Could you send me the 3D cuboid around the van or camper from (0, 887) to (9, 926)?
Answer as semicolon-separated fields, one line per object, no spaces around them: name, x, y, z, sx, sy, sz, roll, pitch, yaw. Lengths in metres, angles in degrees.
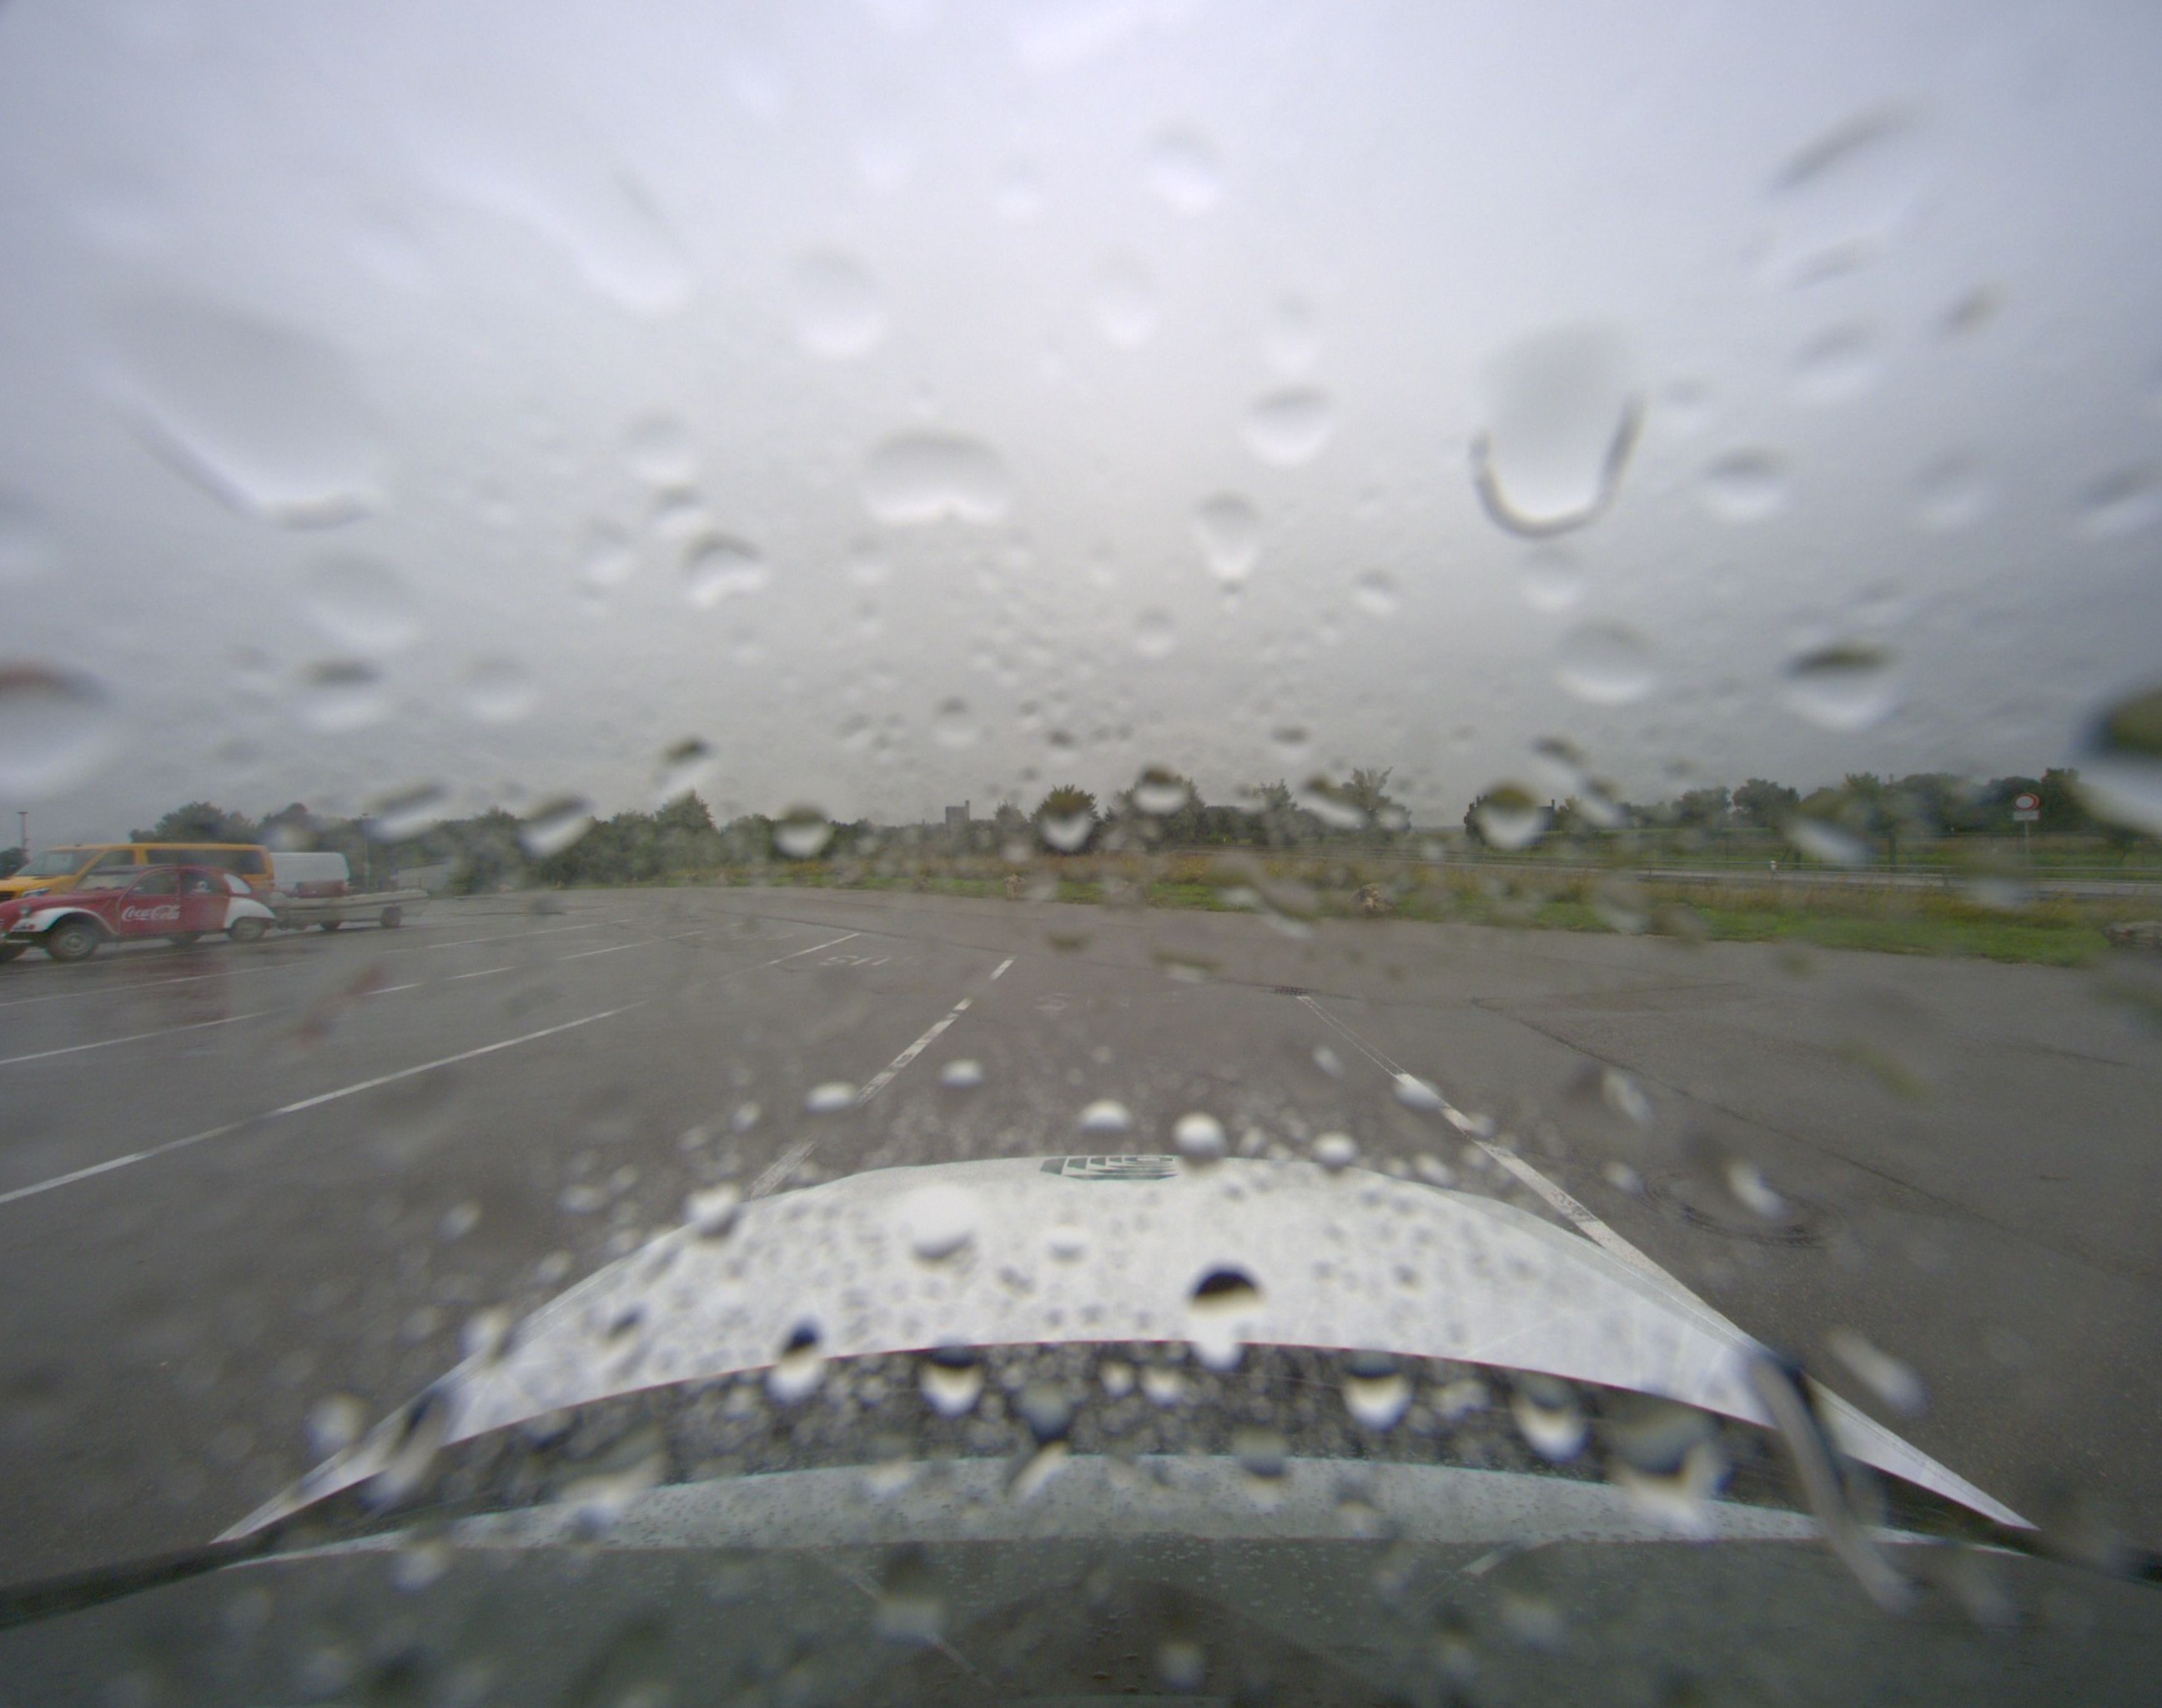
van or camper;-62.417;2.996;46.035;3.948;2.166;2.013;-2;0;34

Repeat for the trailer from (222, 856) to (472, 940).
trailer;-16.149;0.887;18.239;1.687;1.532;4.006;-2;1;5

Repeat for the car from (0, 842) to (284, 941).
car;-26.686;0.966;23.081;1.986;2.380;6.028;-4;0;2

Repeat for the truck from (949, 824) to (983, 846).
truck;-19.060;-3.125;134.575;2.757;3.391;7.988;-1;0;-30

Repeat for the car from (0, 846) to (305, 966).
car;-16.522;0.804;14.242;1.813;1.777;4.006;-2;0;5
